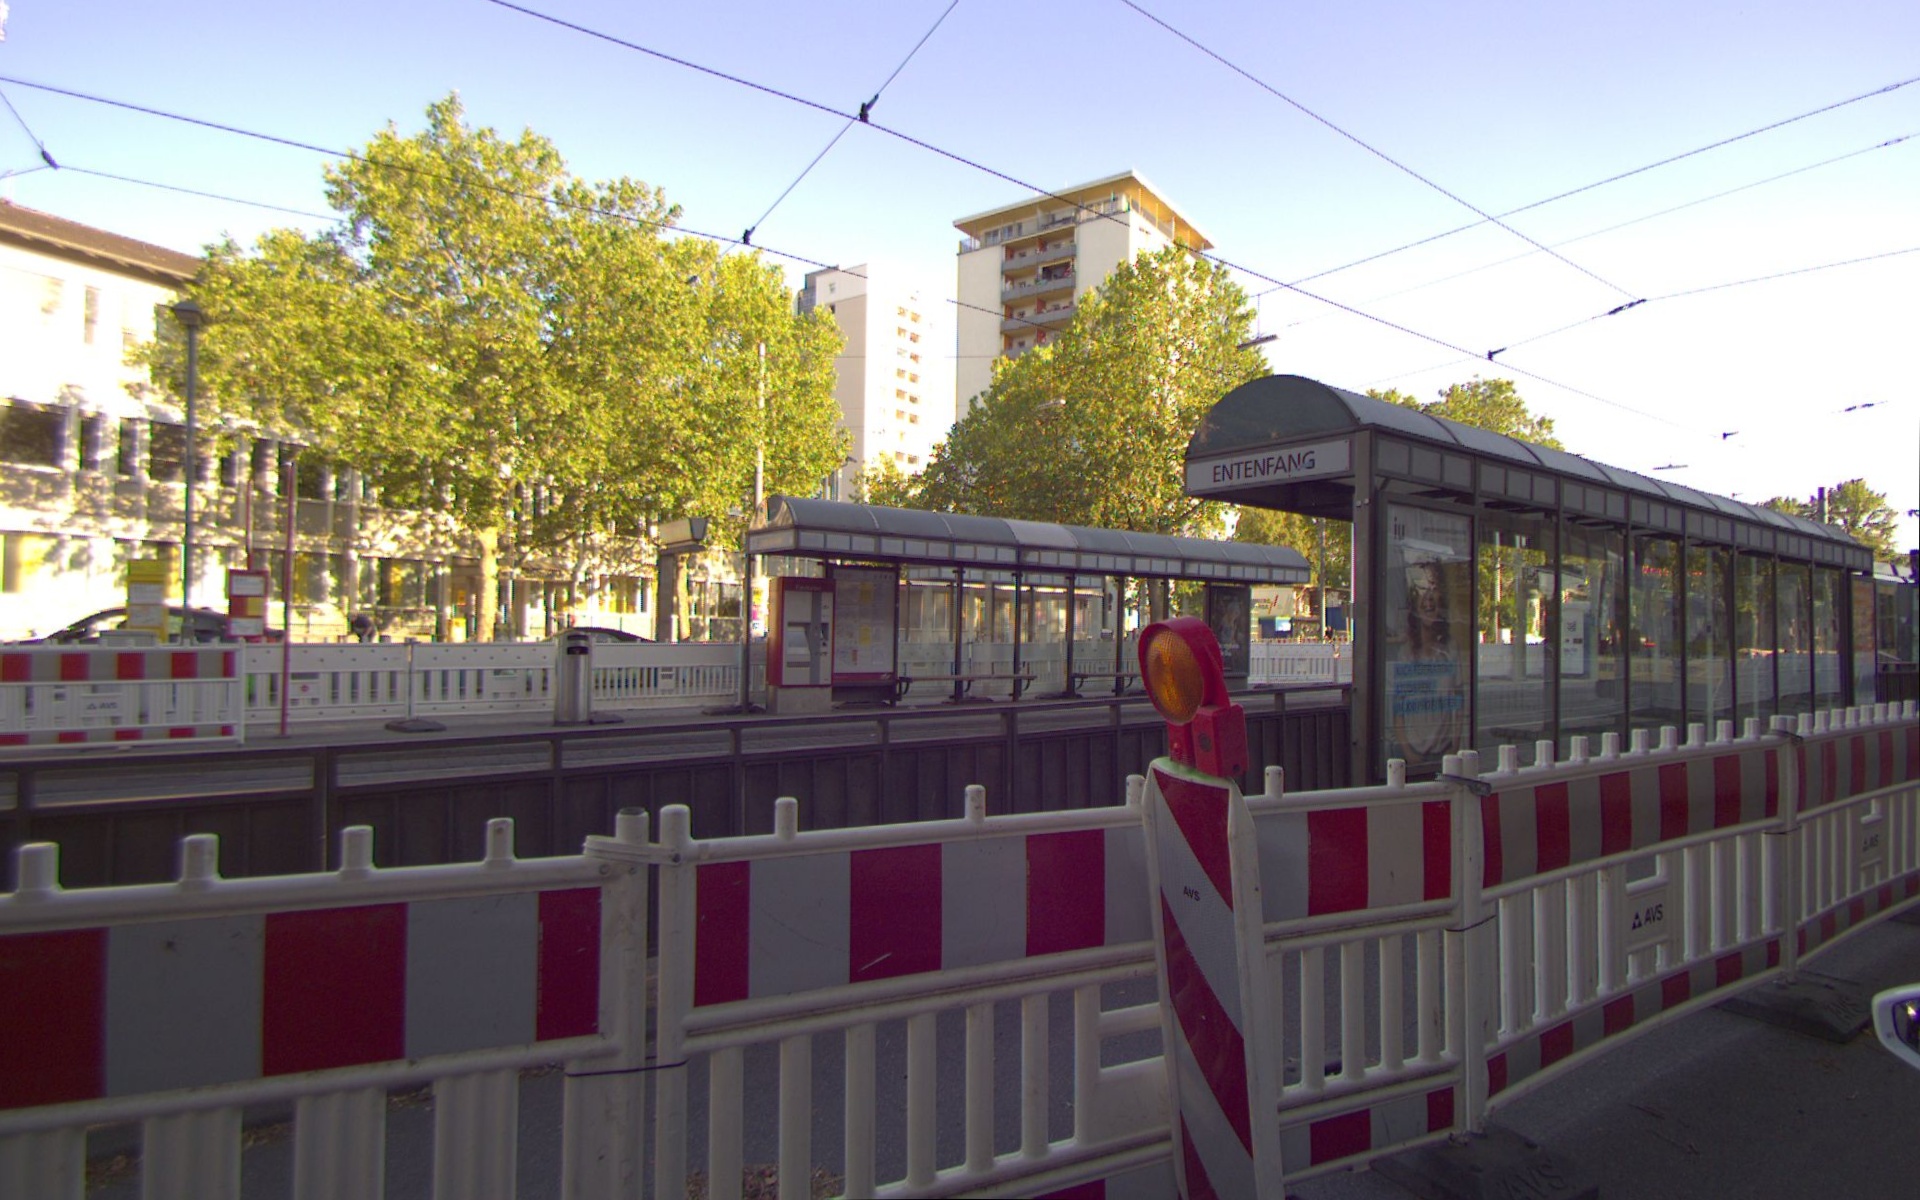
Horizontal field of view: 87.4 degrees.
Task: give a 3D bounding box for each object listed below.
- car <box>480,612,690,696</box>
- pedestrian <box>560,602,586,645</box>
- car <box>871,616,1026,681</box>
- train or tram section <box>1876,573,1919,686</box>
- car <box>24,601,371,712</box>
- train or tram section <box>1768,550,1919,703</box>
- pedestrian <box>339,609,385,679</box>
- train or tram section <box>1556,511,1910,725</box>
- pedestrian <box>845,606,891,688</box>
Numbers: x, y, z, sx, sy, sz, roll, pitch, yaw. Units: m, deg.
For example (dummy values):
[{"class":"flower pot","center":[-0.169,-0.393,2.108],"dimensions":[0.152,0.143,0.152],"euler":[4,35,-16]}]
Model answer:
[{"class":"car","center":[-8.188,1.151,22.016],"dimensions":[3.958,1.683,1.982],"euler":[2,-2,-34]},{"class":"pedestrian","center":[-13.387,0.821,34.740],"dimensions":[0.577,1.474,0.584],"euler":[0,-2,36]},{"class":"car","center":[-0.297,1.325,28.015],"dimensions":[3.959,1.683,1.901],"euler":[2,-2,-35]},{"class":"train or tram section","center":[35.214,1.093,35.192],"dimensions":[11.479,3.580,2.666],"euler":[2,0,-38]},{"class":"car","center":[-12.840,0.939,17.342],"dimensions":[4.511,1.683,1.982],"euler":[2,-2,-34]},{"class":"train or tram section","center":[26.094,0.765,28.201],"dimensions":[11.477,3.606,2.666],"euler":[2,0,-38]},{"class":"pedestrian","center":[-16.144,1.174,27.114],"dimensions":[0.921,1.858,0.691],"euler":[2,-2,-43]},{"class":"train or tram section","center":[16.797,0.442,21.292],"dimensions":[11.657,3.581,2.668],"euler":[2,0,-36]},{"class":"pedestrian","center":[-2.209,1.114,24.139],"dimensions":[0.829,1.925,0.740],"euler":[2,-2,-36]}]
